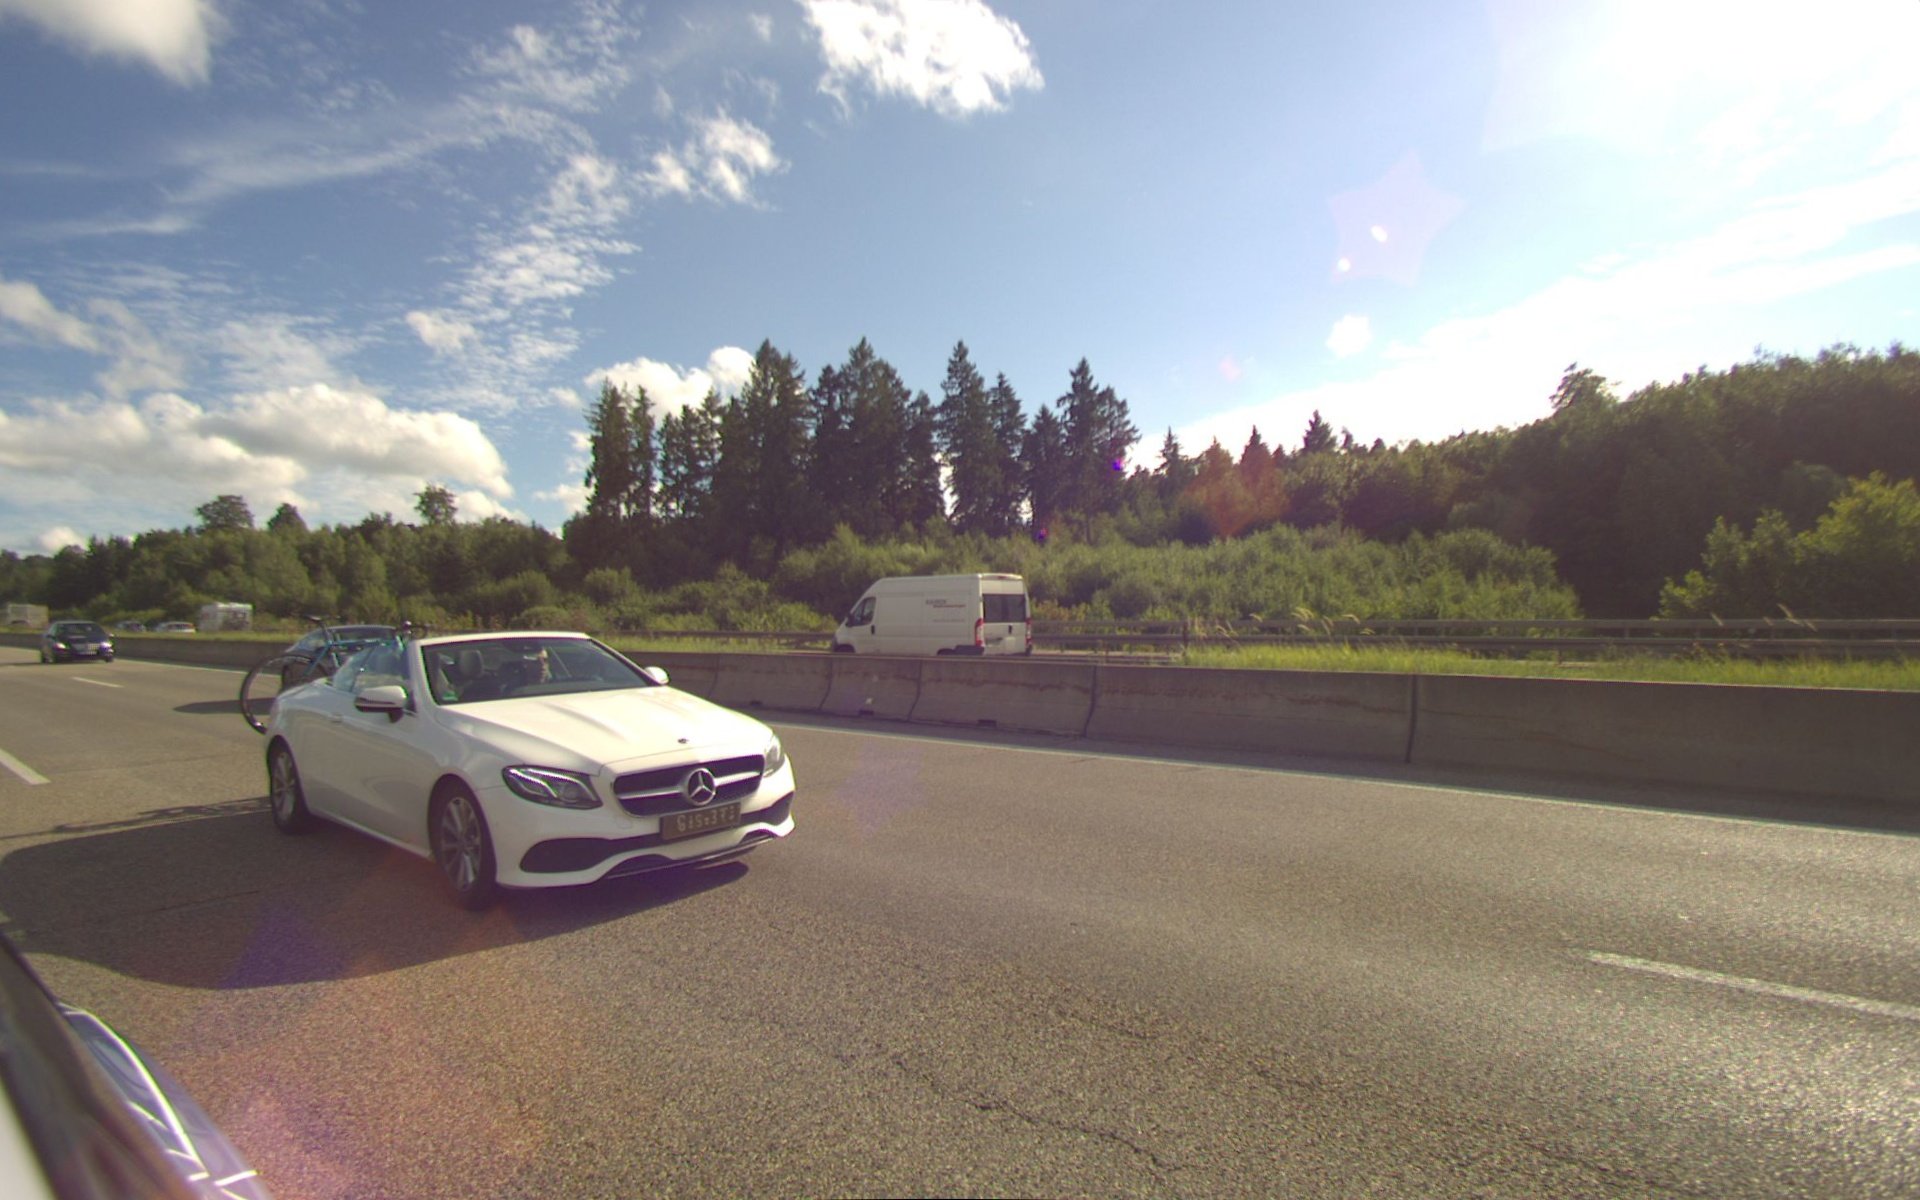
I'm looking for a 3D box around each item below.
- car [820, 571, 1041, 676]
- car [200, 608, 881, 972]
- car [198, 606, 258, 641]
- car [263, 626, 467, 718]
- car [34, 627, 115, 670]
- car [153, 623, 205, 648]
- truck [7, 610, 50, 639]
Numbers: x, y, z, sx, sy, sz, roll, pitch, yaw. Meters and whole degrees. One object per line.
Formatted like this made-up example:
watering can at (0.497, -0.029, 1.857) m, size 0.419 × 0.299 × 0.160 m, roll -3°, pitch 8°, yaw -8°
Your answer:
car at (-0.833, 0.541, 24.922) m, size 5.444 × 2.292 × 2.075 m, roll -1°, pitch 1°, yaw 41°
car at (-3.261, 0.860, 6.928) m, size 5.734 × 1.510 × 2.038 m, roll -2°, pitch -1°, yaw 42°
car at (-57.676, 1.844, 79.665) m, size 5.842 × 2.494 × 2.517 m, roll -1°, pitch 1°, yaw 41°
car at (-10.983, 1.220, 18.526) m, size 4.839 × 1.442 × 1.836 m, roll -2°, pitch -1°, yaw 42°
car at (-33.843, 1.805, 38.650) m, size 4.331 × 1.529 × 1.816 m, roll -2°, pitch -1°, yaw 42°
car at (-50.397, 2.255, 65.281) m, size 3.998 × 1.430 × 1.801 m, roll -1°, pitch 3°, yaw 41°
truck at (-132.956, 3.547, 144.462) m, size 11.735 × 3.932 × 3.281 m, roll -1°, pitch -1°, yaw 41°
